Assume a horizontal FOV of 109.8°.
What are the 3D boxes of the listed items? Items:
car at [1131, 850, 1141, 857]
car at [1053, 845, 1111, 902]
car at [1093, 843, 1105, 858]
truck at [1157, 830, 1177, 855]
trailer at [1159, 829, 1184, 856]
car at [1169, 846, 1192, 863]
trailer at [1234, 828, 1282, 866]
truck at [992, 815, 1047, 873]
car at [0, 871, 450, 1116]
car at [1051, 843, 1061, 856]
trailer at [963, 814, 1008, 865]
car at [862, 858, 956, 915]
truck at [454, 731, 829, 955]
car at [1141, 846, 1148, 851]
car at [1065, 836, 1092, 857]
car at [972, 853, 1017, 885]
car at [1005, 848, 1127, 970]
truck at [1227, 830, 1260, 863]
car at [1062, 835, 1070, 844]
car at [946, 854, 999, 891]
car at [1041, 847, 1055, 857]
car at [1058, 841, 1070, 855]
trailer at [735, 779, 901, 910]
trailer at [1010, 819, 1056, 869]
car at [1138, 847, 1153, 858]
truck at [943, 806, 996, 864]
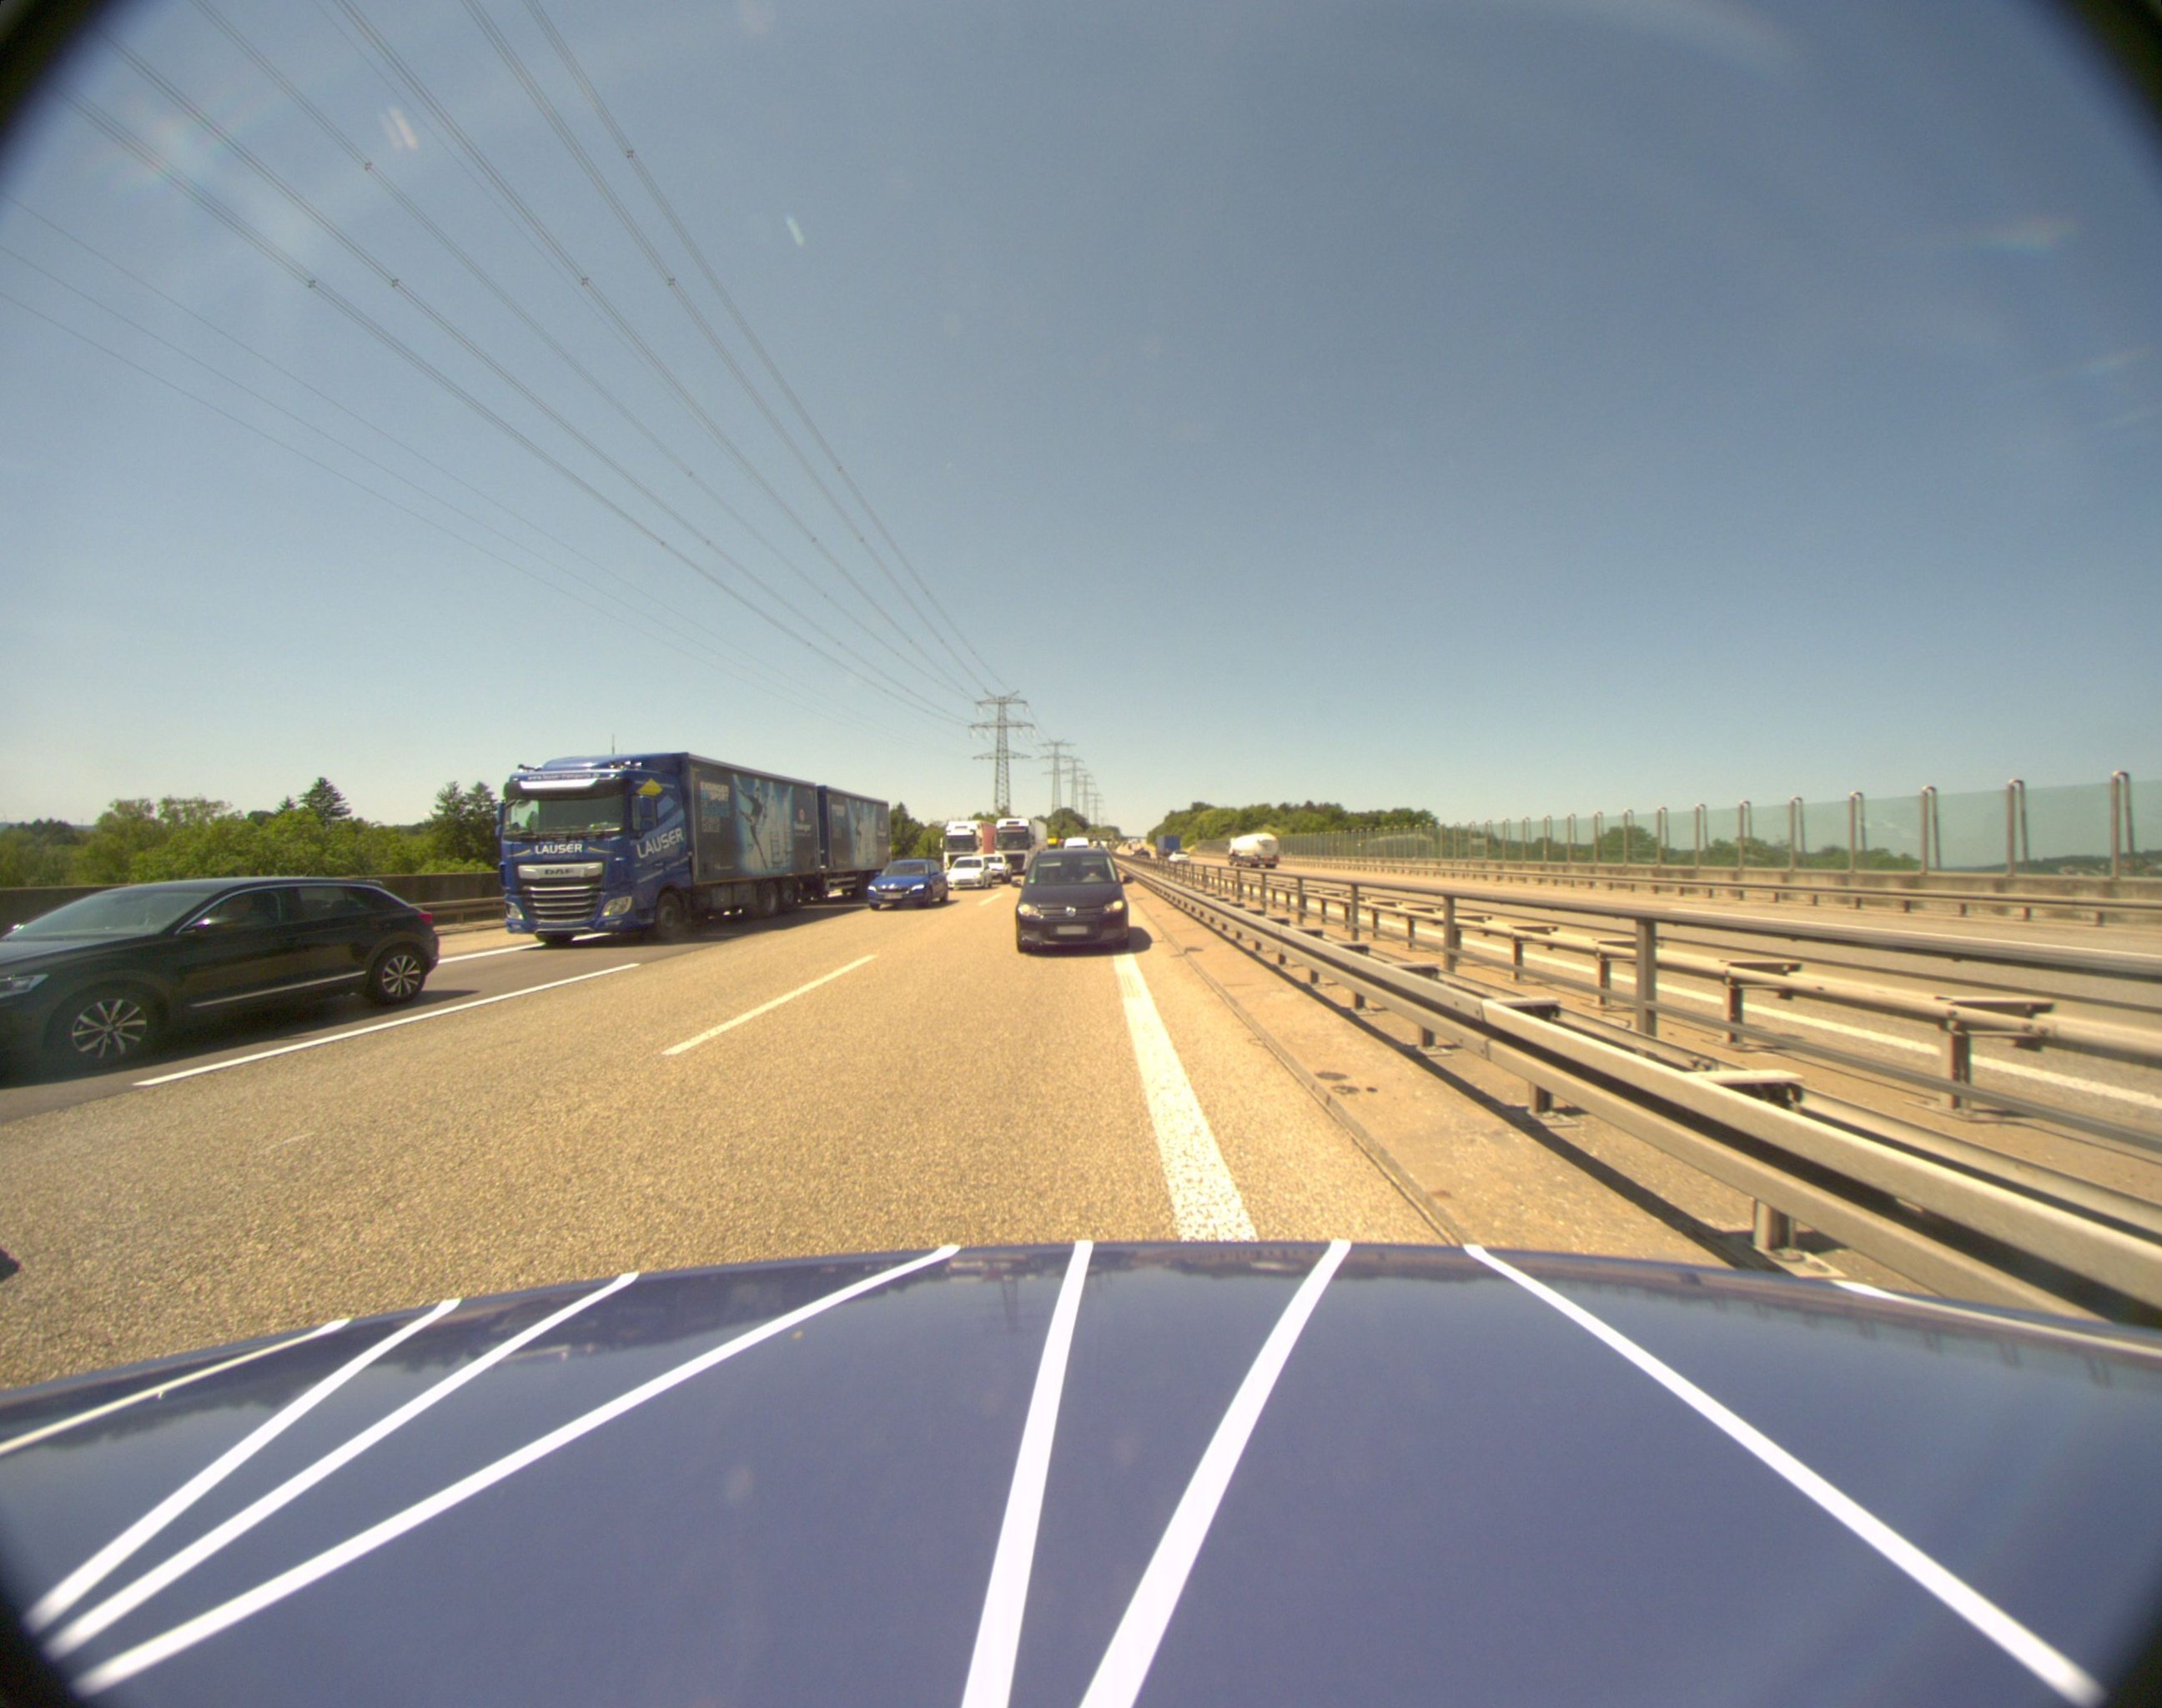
[{"bbox_3d":[12.255,-0.089,168.482,1.886,1.543,4.188,-2,1,-1],"label":"car"},{"bbox_3d":[0.050,0.567,25.299,1.712,1.669,3.931,-2,1,1],"label":"car"},{"bbox_3d":[2.842,-0.571,118.710,1.704,2.116,3.999,-2,1,1],"label":"car"},{"bbox_3d":[14.730,-1.986,130.155,2.760,4.093,6.264,0,1,0],"label":"truck"},{"bbox_3d":[14.676,-1.849,124.000,2.711,4.142,12.047,0,1,0],"label":"trailer"},{"bbox_3d":[10.197,0.004,77.967,1.811,1.630,3.999,1,1,-1],"label":"car"},{"bbox_3d":[17.727,-0.738,76.744,2.505,3.520,10.902,0,1,1],"label":"trailer"},{"bbox_3d":[-4.282,-0.733,55.106,2.849,3.804,8.264,-2,1,2],"label":"truck"},{"bbox_3d":[-8.761,1.097,7.363,1.712,1.645,4.117,-2,1,1],"label":"car"},{"bbox_3d":[-5.257,-0.987,160.488,1.704,2.525,3.999,2,1,1],"label":"car"},{"bbox_3d":[-8.197,-1.236,66.513,2.608,4.094,9.083,-2,1,0],"label":"trailer"},{"bbox_3d":[-5.239,0.930,23.763,1.712,1.443,4.563,-2,1,1],"label":"car"},{"bbox_3d":[-9.619,-0.283,18.863,2.859,3.927,10.393,-2,1,2],"label":"truck"},{"bbox_3d":[18.060,-1.510,217.156,1.802,1.490,3.851,0,1,1],"label":"car"},{"bbox_3d":[-0.126,-0.605,58.725,1.924,1.501,3.996,-2,1,1],"label":"car"},{"bbox_3d":[-4.492,0.745,39.833,1.712,1.501,4.144,-2,1,1],"label":"car"},{"bbox_3d":[-0.195,0.785,12.990,1.712,1.669,3.931,-2,1,1],"label":"car"},{"bbox_3d":[17.884,-0.863,83.988,2.527,3.515,5.329,0,1,1],"label":"truck"},{"bbox_3d":[-3.629,-3.542,187.754,1.704,2.116,3.999,2,1,1],"label":"car"},{"bbox_3d":[-4.890,0.787,34.780,1.712,1.443,4.144,-2,1,1],"label":"car"},{"bbox_3d":[-5.437,-0.285,125.695,1.924,1.501,3.996,-2,1,1],"label":"car"},{"bbox_3d":[-2.635,-0.902,118.368,1.704,2.116,3.999,2,1,1],"label":"car"},{"bbox_3d":[-9.370,-0.368,28.404,2.835,4.066,8.637,-2,1,1],"label":"trailer"},{"bbox_3d":[-3.885,-0.870,63.767,2.822,3.830,9.085,-2,1,2],"label":"trailer"},{"bbox_3d":[10.446,-0.274,123.462,1.886,1.543,4.188,-2,1,-1],"label":"car"},{"bbox_3d":[-8.317,-1.415,57.855,2.608,3.965,8.263,-2,1,0],"label":"truck"}]
